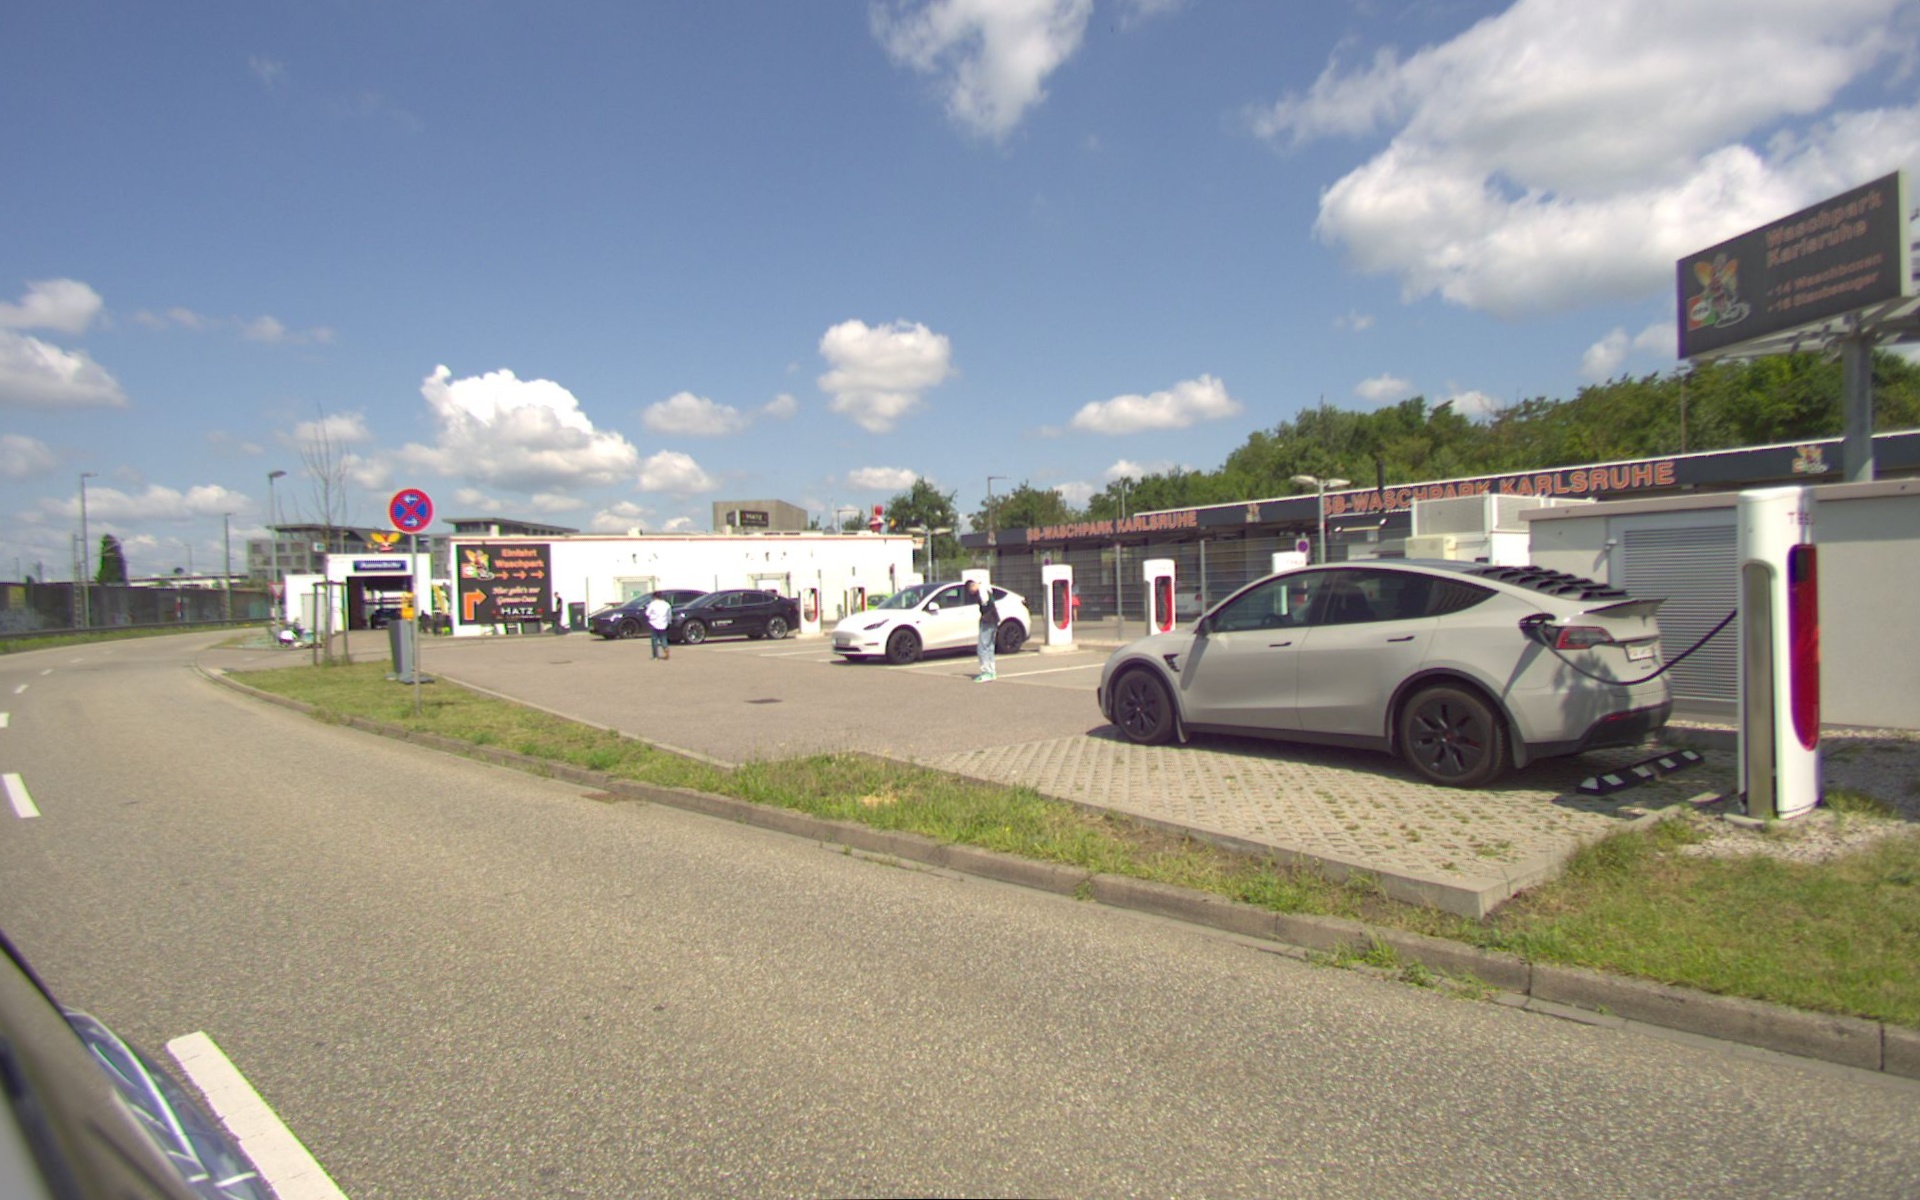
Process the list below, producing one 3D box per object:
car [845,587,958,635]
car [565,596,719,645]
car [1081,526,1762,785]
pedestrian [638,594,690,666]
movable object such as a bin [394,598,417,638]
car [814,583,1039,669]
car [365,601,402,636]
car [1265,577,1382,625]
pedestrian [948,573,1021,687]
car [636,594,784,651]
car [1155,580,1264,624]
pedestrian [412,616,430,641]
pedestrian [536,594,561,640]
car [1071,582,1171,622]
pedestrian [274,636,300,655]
[{"bbox_3d":[-2.081,0.362,34.860,1.891,1.493,4.310,-2,1,-34],"label":"car"},{"bbox_3d":[-11.203,0.707,35.834,4.686,1.466,2.241,-3,1,-40],"label":"car"},{"bbox_3d":[3.399,0.386,8.448,1.906,1.529,4.785,-3,-1,-37],"label":"car"},{"bbox_3d":[-7.100,0.705,24.289,0.851,1.666,0.942,-2,0,-40],"label":"pedestrian"},{"bbox_3d":[-31.511,0.996,57.565,1.048,2.168,2.713,-2,2,-28],"label":"movable object such as a bin"},{"bbox_3d":[-0.641,0.488,21.592,4.494,1.535,2.003,-3,1,-40],"label":"car"},{"bbox_3d":[-37.567,1.169,66.013,1.966,2.125,5.026,-1,0,-29],"label":"car"},{"bbox_3d":[12.643,0.013,35.157,3.935,1.574,2.004,-1,0,-38],"label":"car"},{"bbox_3d":[0.398,0.462,16.319,0.852,1.764,0.728,-2,1,-42],"label":"pedestrian"},{"bbox_3d":[-7.667,0.651,31.172,3.936,1.530,2.004,-3,1,-39],"label":"car"},{"bbox_3d":[9.570,0.053,38.695,3.935,1.574,2.004,-1,0,-38],"label":"car"},{"bbox_3d":[-27.756,1.454,52.160,0.742,1.266,0.902,-2,0,-26],"label":"pedestrian"},{"bbox_3d":[-18.454,0.757,45.360,0.925,2.028,0.868,-1,2,-29],"label":"pedestrian"},{"bbox_3d":[6.836,0.083,42.739,3.935,1.574,2.004,-1,0,-38],"label":"car"},{"bbox_3d":[-28.394,1.908,42.697,0.850,0.766,0.820,-1,-1,-29],"label":"pedestrian"}]
